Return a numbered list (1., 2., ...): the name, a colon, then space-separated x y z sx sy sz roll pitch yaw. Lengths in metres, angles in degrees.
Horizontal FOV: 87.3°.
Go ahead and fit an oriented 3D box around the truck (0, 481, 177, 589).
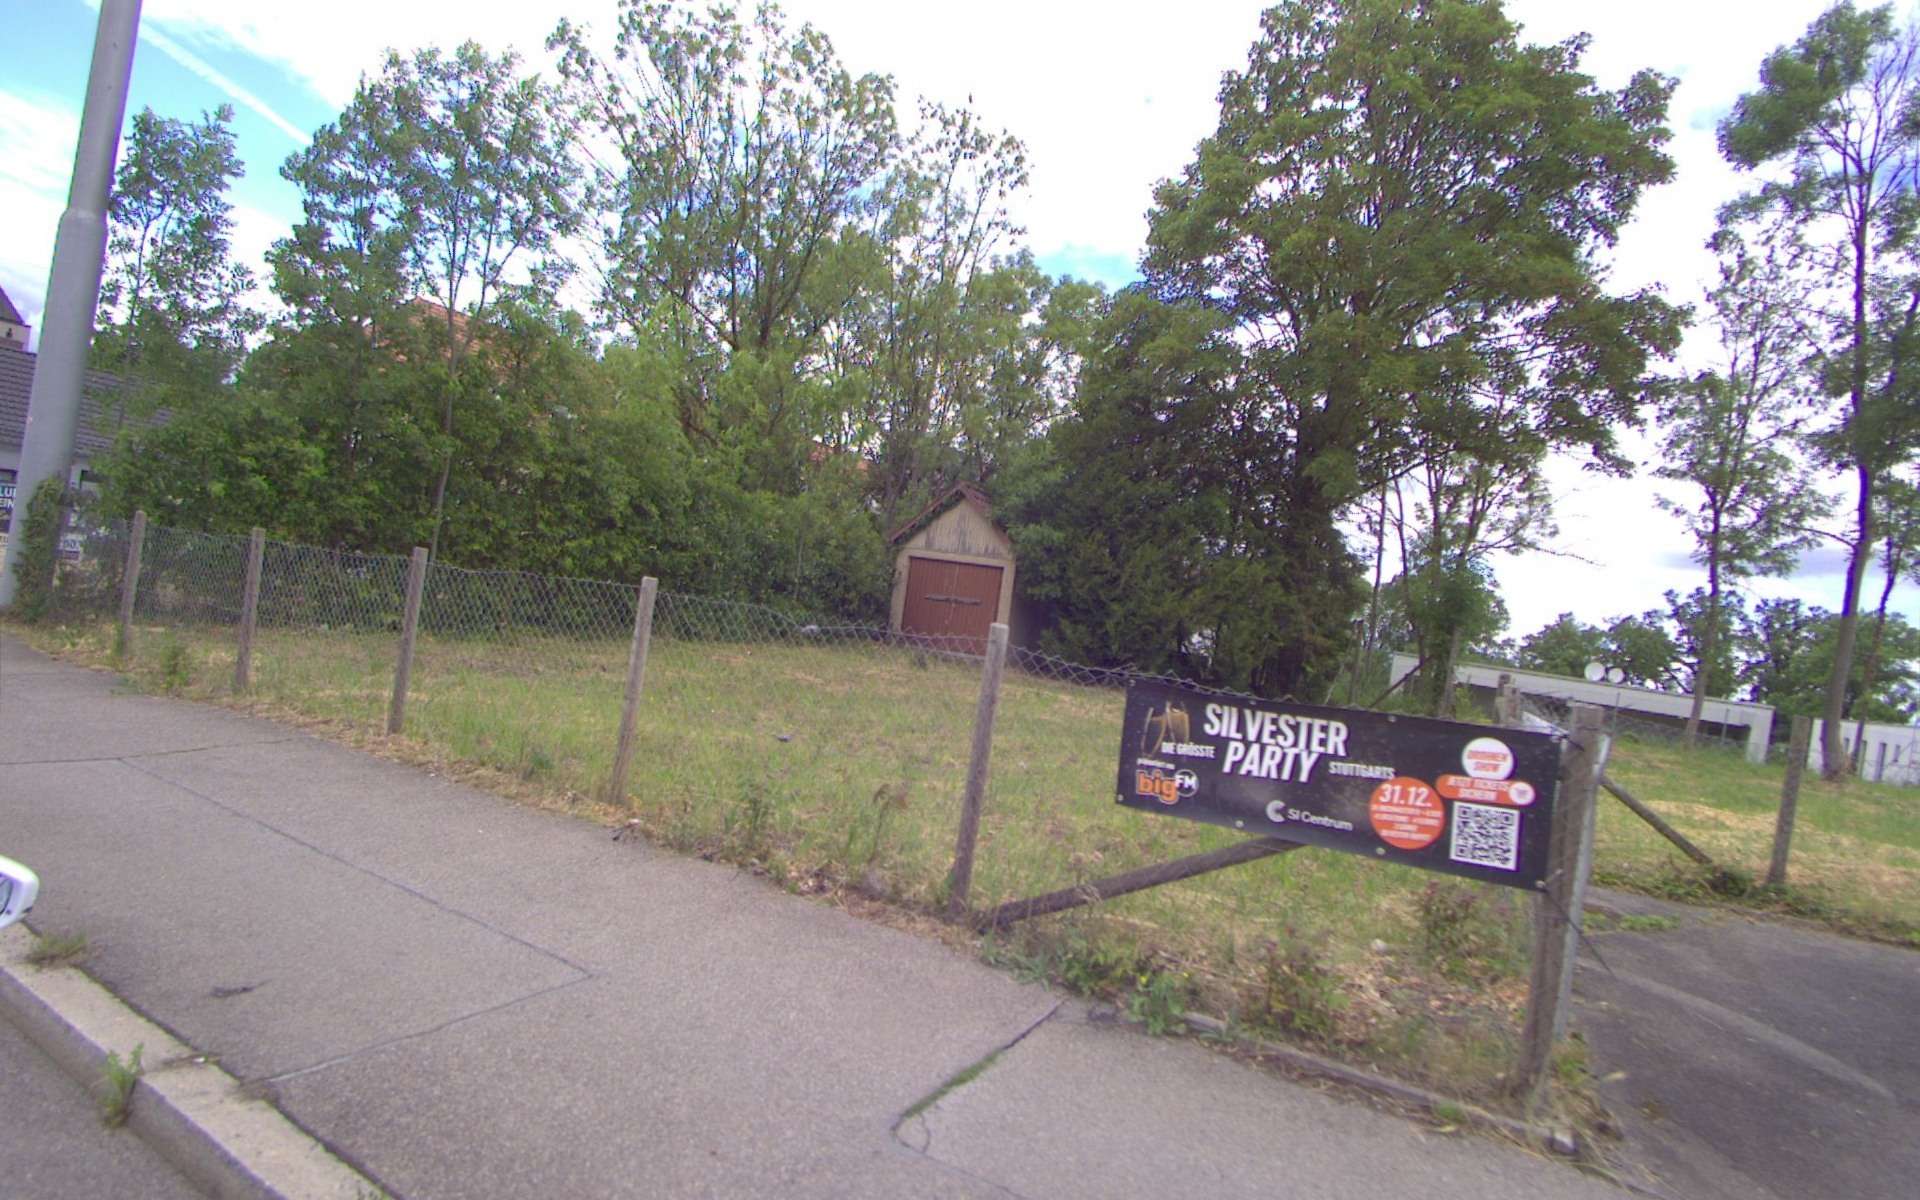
1. truck: -29.920 -2.234 32.811 1.967 2.729 6.406 7 -4 31
